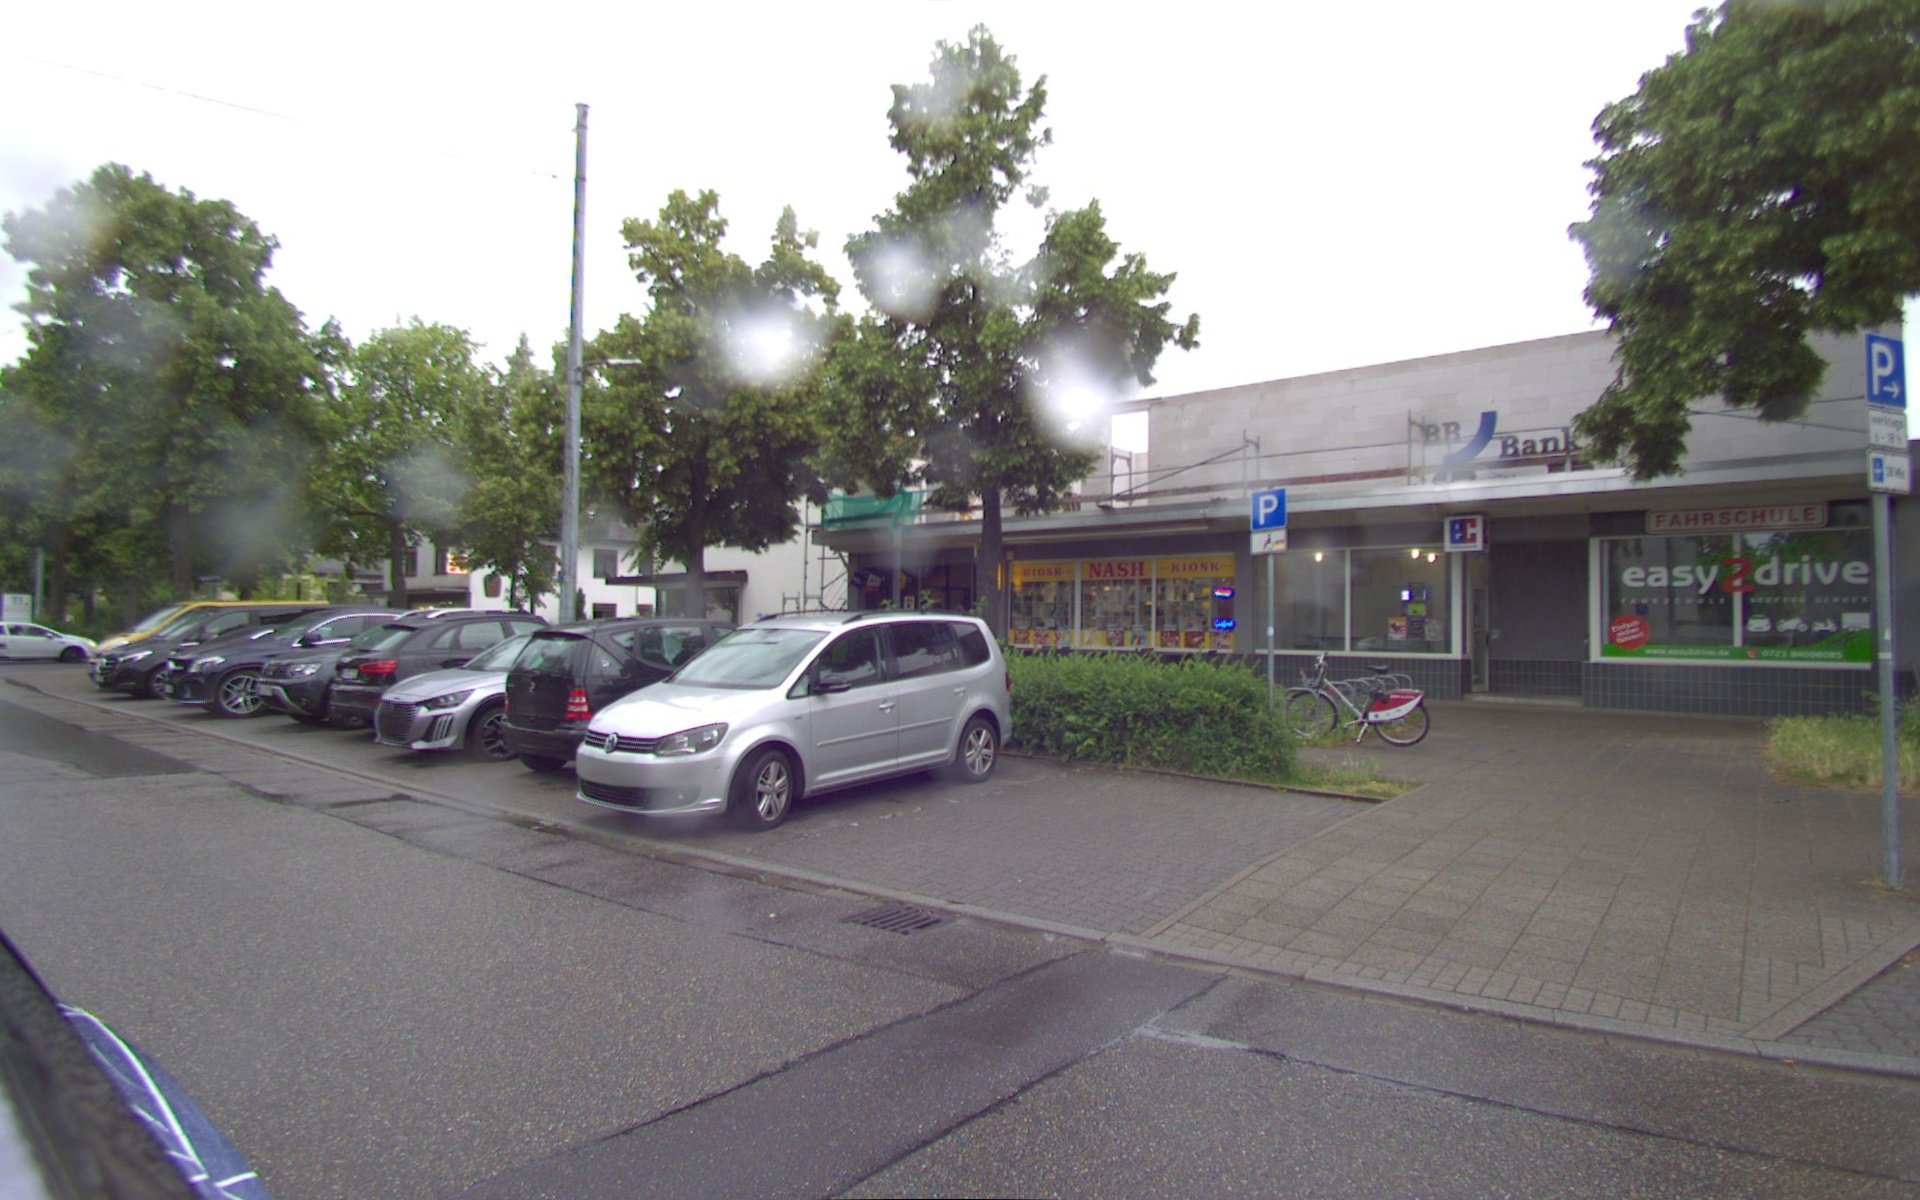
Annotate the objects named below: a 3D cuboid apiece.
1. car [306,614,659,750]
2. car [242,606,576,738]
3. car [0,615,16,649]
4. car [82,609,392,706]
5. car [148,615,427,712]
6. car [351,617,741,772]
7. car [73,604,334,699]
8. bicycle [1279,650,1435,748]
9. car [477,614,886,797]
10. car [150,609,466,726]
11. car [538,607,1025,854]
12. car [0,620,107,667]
[{"bbox_3d":[-6.569,1.015,14.350,1.713,1.607,4.231,-1,-1,38],"label":"car"},{"bbox_3d":[-8.332,0.973,15.644,1.713,1.740,4.231,-1,-1,38],"label":"car"},{"bbox_3d":[-49.756,1.628,50.247,1.997,1.698,3.950,-1,0,37],"label":"car"},{"bbox_3d":[-15.132,1.101,21.503,1.713,1.813,5.114,-1,-1,38],"label":"car"},{"bbox_3d":[-12.961,1.129,19.753,1.713,1.639,4.231,-1,-1,38],"label":"car"},{"bbox_3d":[-4.936,1.007,12.613,1.713,1.544,4.231,-1,-1,38],"label":"car"},{"bbox_3d":[-17.438,1.096,23.566,1.713,1.973,4.600,-1,-1,38],"label":"car"},{"bbox_3d":[4.827,1.185,12.351,1.739,1.115,0.316,-1,0,25],"label":"bicycle"},{"bbox_3d":[-2.834,0.964,11.147,1.633,1.577,4.231,-1,0,38],"label":"car"},{"bbox_3d":[-10.960,1.027,17.298,1.713,1.740,4.231,-1,-1,38],"label":"car"},{"bbox_3d":[-1.315,0.891,8.998,1.713,1.647,4.231,-1,-1,38],"label":"car"},{"bbox_3d":[-31.660,1.447,34.051,1.997,1.465,4.203,-1,0,38],"label":"car"}]
